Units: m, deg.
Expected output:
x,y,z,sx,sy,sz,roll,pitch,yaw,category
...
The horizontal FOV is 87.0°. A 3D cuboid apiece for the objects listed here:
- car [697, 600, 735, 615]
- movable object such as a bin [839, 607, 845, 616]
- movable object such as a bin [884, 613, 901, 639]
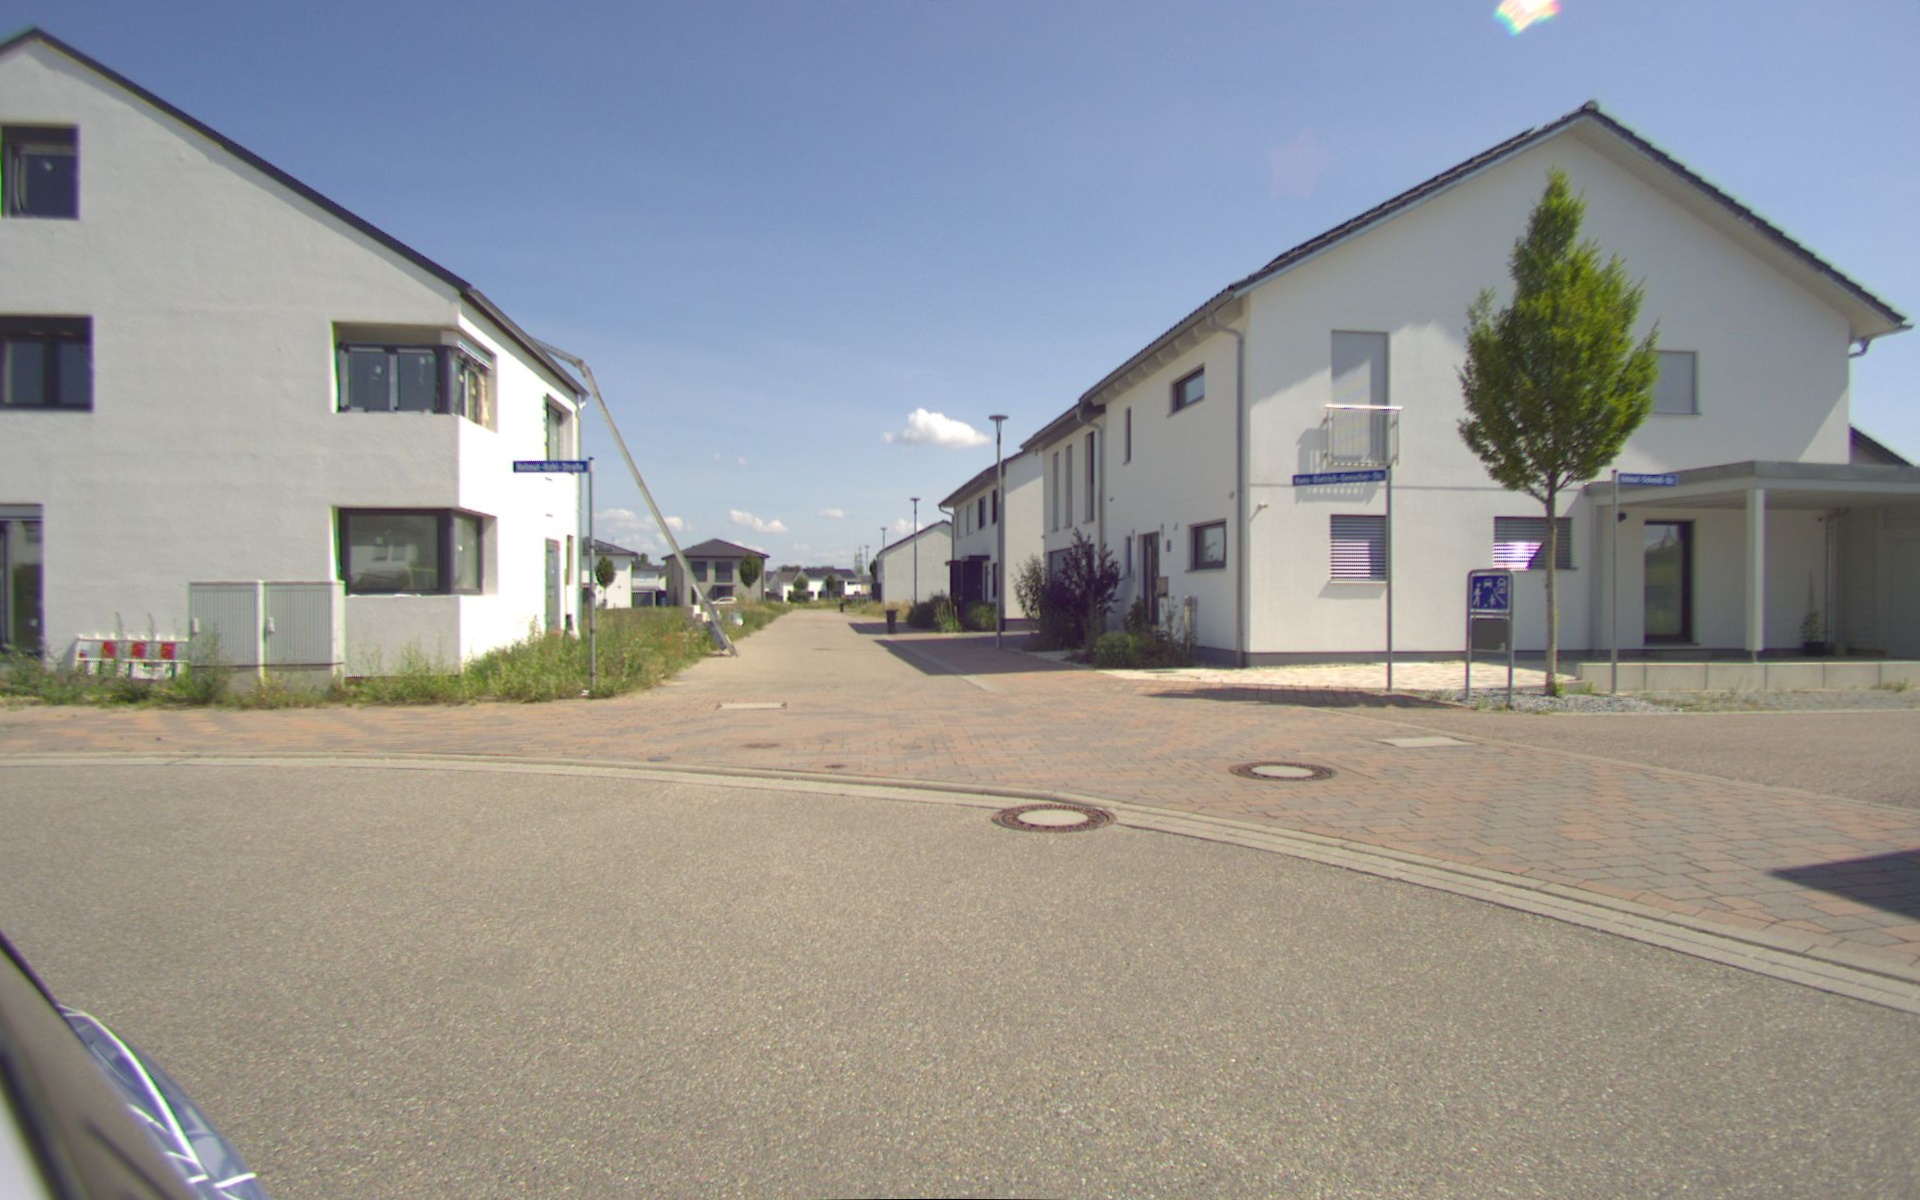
x,y,z,sx,sy,sz,roll,pitch,yaw,category
-26.338,0.791,109.231,3.932,1.564,1.840,0,0,-16,car
-12.591,1.220,108.003,0.588,0.928,0.462,0,0,-7,movable object such as a bin
-2.485,0.951,37.322,0.588,0.928,0.462,0,0,-7,movable object such as a bin
